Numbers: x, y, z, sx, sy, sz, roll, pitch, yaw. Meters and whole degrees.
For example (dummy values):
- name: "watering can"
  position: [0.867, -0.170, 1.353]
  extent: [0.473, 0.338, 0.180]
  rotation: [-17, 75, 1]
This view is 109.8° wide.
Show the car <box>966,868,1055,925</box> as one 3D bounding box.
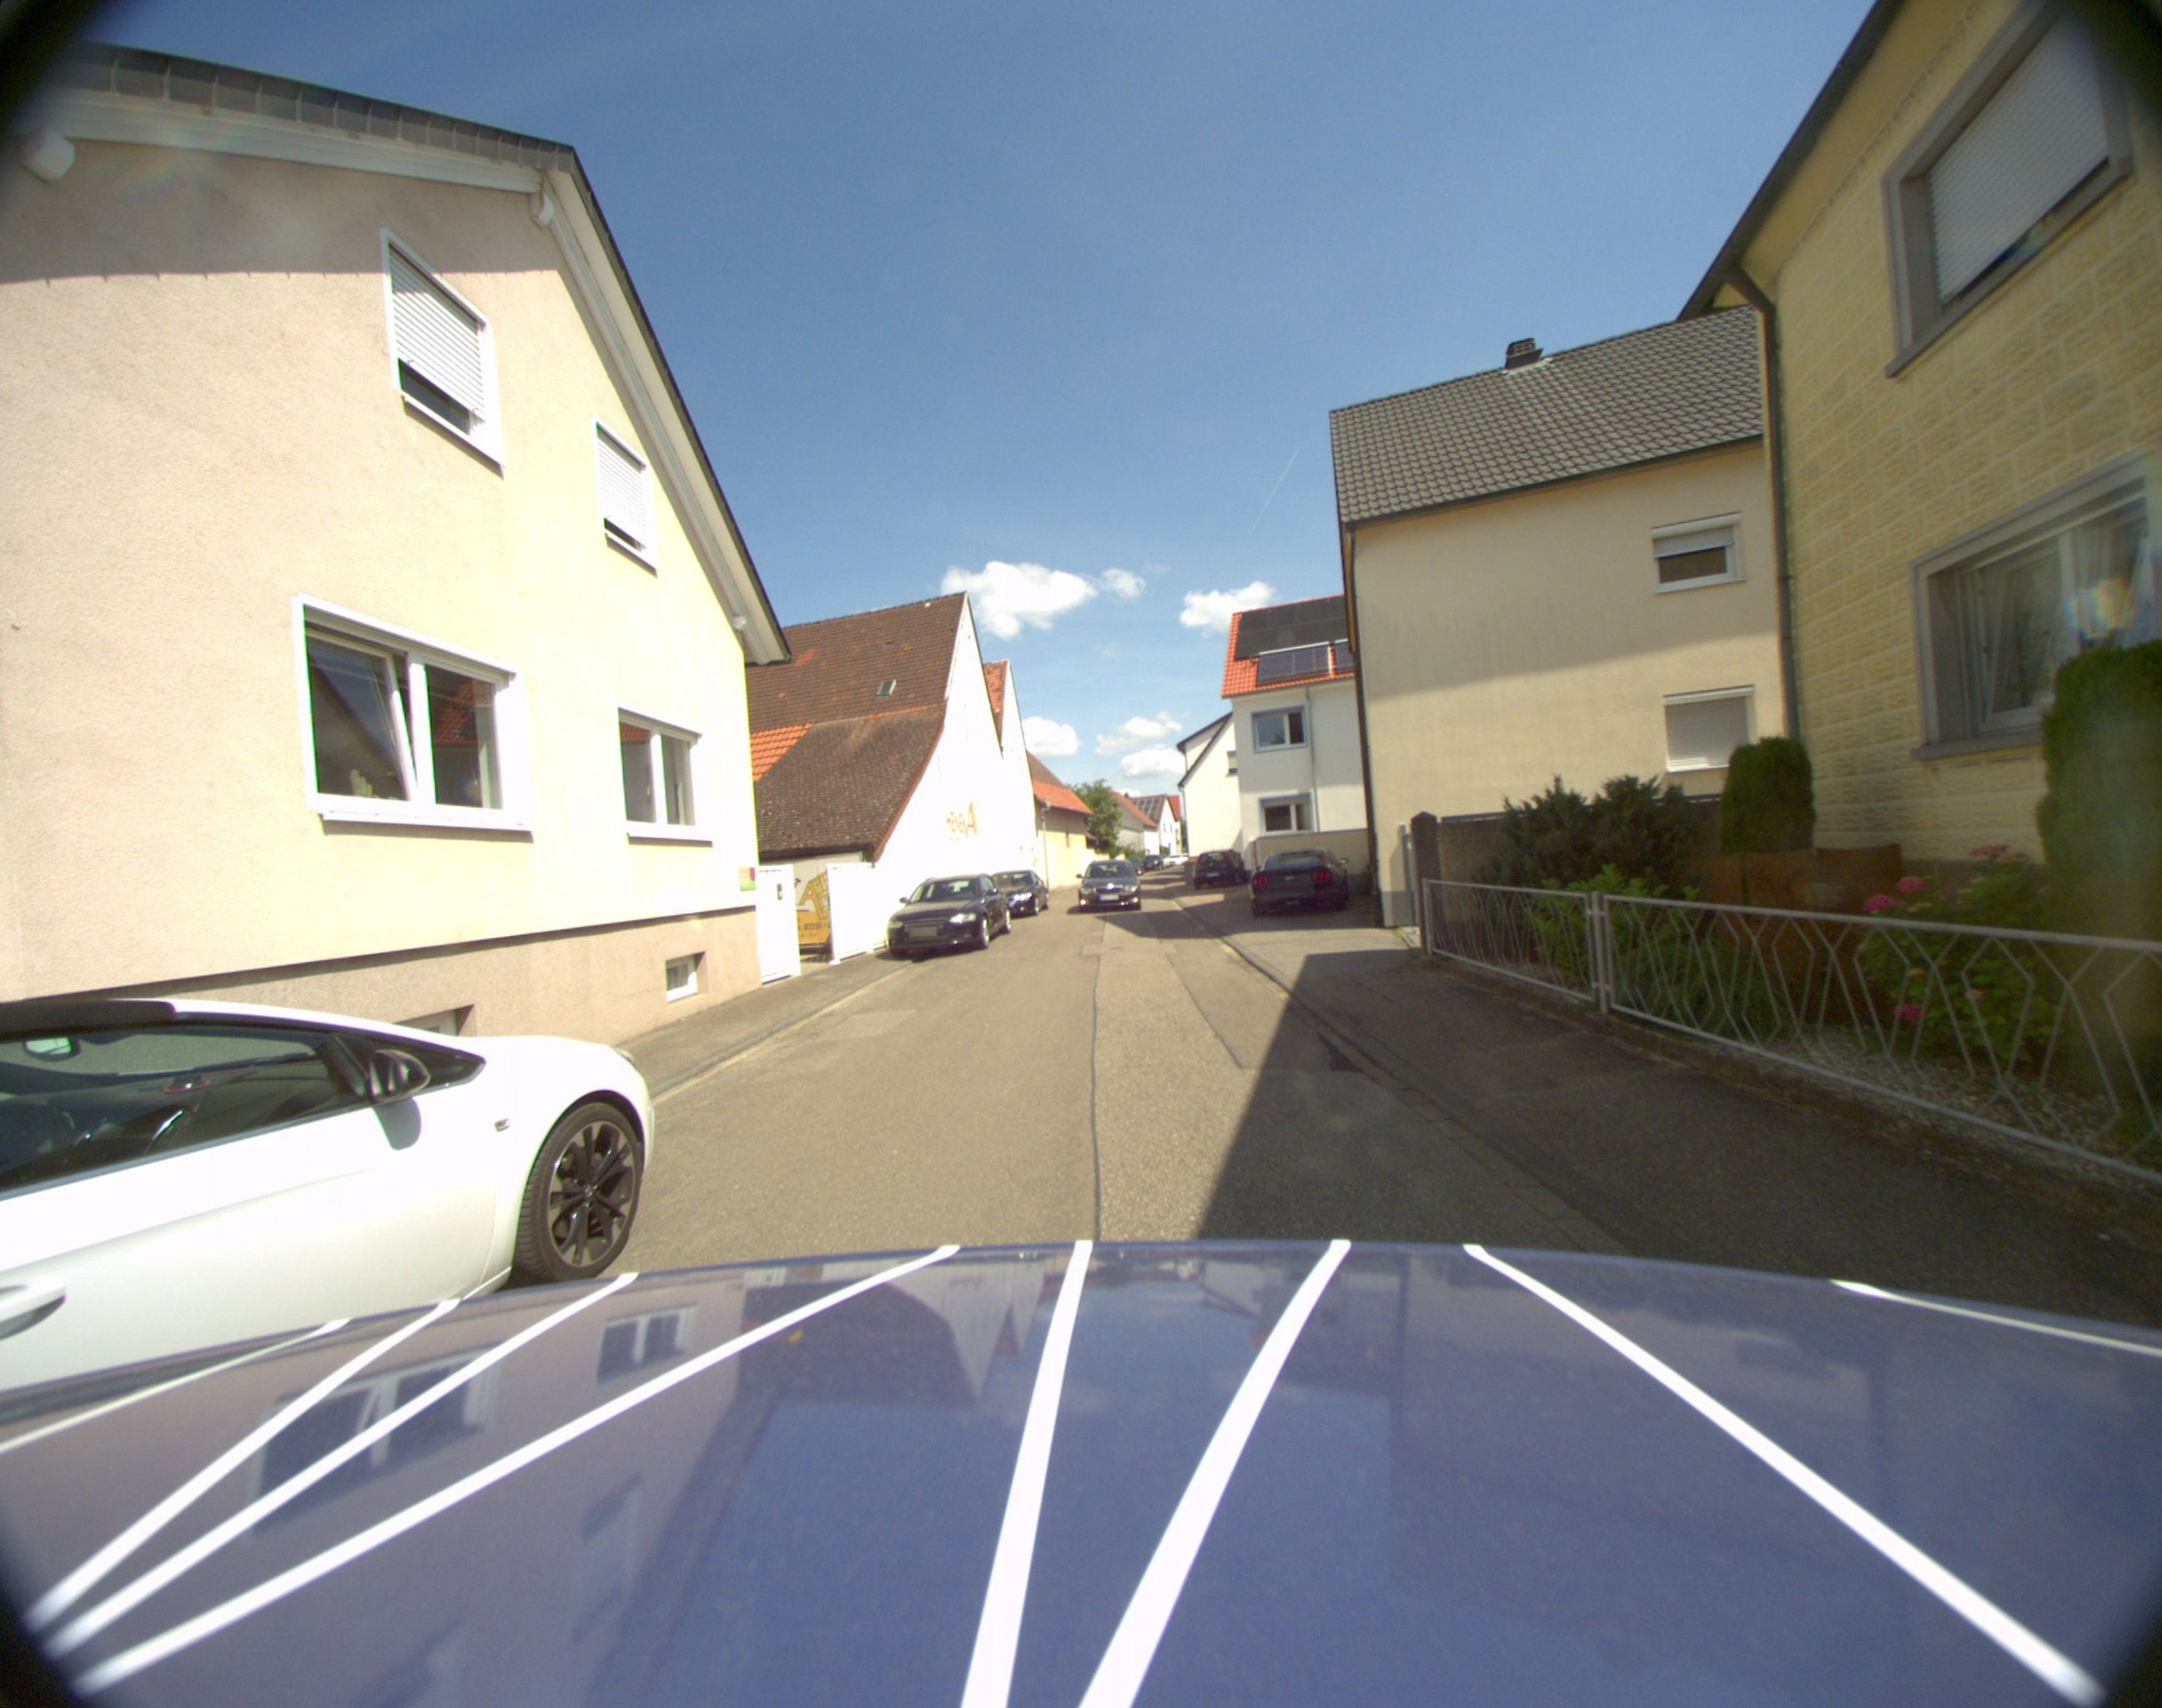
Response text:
- name: "car"
  position: [-2.064, 1.245, 23.693]
  extent: [1.900, 1.357, 4.415]
  rotation: [-5, 0, 5]

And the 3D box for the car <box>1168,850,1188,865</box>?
- name: "car"
  position: [11.512, 0.365, 90.123]
  extent: [1.783, 1.491, 4.042]
  rotation: [-7, 0, 14]

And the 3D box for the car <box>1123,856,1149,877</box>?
- name: "car"
  position: [4.493, 1.015, 61.382]
  extent: [1.784, 1.470, 4.002]
  rotation: [-4, 0, 7]

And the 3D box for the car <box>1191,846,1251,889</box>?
- name: "car"
  position: [5.760, 0.518, 30.891]
  extent: [1.640, 1.446, 3.792]
  rotation: [-6, -1, 20]

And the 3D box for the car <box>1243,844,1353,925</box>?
- name: "car"
  position: [5.004, 0.591, 17.103]
  extent: [1.772, 1.341, 4.475]
  rotation: [-6, 0, 22]

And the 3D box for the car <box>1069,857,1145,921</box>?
- name: "car"
  position: [0.885, 0.944, 22.550]
  extent: [1.784, 1.527, 4.711]
  rotation: [-4, 0, 6]

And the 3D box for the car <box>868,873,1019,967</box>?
- name: "car"
  position: [-2.616, 1.225, 15.708]
  extent: [1.900, 1.357, 4.738]
  rotation: [-5, 0, 3]

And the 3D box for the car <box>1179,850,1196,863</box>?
- name: "car"
  position: [14.399, 0.349, 102.499]
  extent: [1.783, 1.491, 4.042]
  rotation: [-7, 0, 14]

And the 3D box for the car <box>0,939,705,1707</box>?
- name: "car"
  position: [-3.007, 1.232, 1.627]
  extent: [1.900, 1.420, 4.737]
  rotation: [-5, 0, 1]

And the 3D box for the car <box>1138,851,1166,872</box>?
- name: "car"
  position: [6.582, 0.632, 70.159]
  extent: [1.783, 1.600, 4.003]
  rotation: [-7, 0, 14]
